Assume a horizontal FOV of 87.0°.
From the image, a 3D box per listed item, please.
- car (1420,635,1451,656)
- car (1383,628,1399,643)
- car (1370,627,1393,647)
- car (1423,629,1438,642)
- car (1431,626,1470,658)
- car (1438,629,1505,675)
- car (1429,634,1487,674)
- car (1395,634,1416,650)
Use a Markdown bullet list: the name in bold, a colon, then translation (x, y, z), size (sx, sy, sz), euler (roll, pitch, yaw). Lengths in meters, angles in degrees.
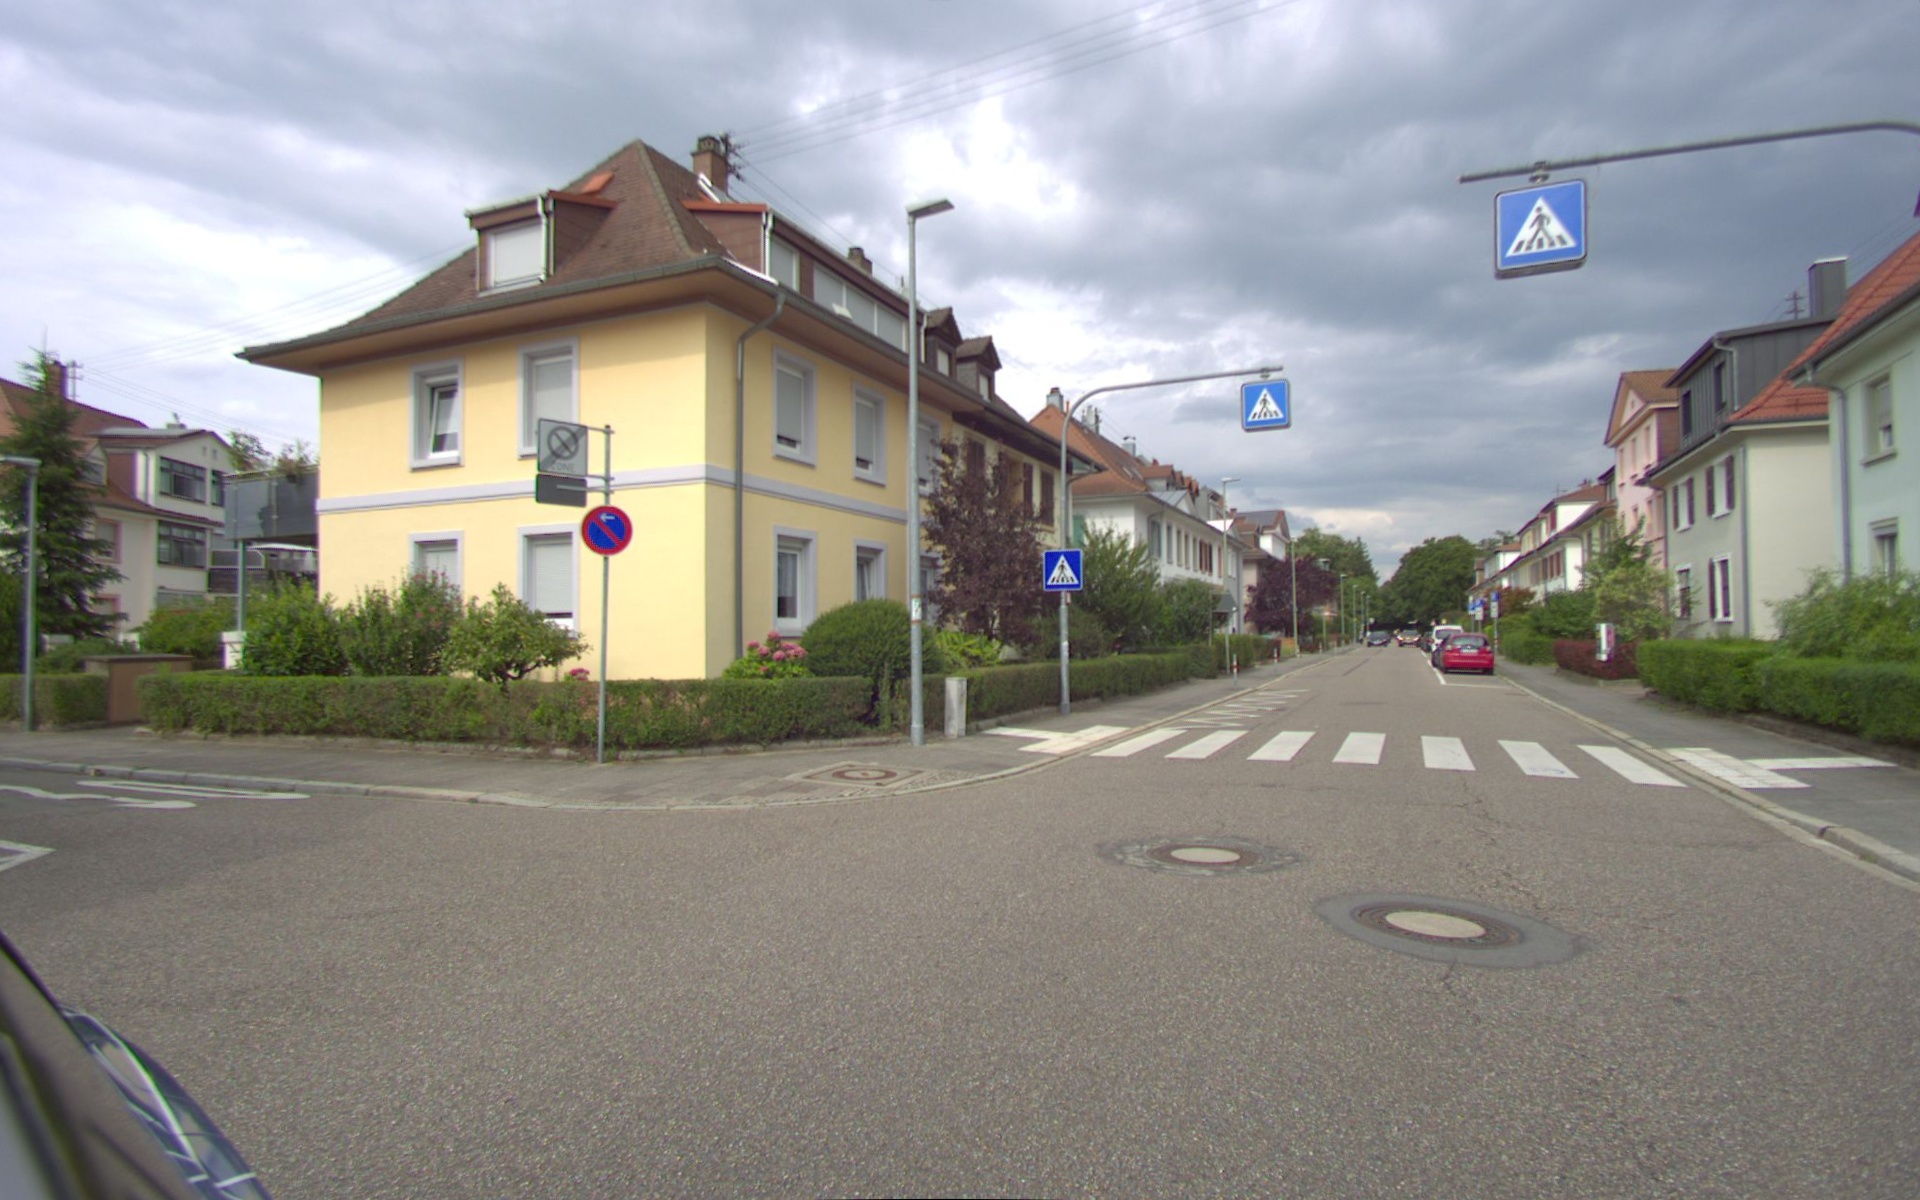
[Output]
- **car**: translation (35.869, 3.432, 76.479), size (1.988, 1.586, 3.967), euler (-2, -2, 24)
- **car**: translation (57.137, 4.704, 134.241), size (1.801, 1.894, 3.916), euler (-2, -2, 24)
- **car**: translation (42.221, 3.714, 101.417), size (1.988, 2.029, 3.967), euler (-1, -2, 24)
- **car**: translation (74.137, 5.603, 159.524), size (1.988, 2.029, 3.967), euler (0, -2, 24)
- **car**: translation (30.594, 2.591, 63.204), size (1.988, 1.918, 3.967), euler (-2, -2, 24)
- **car**: translation (19.021, 1.913, 37.770), size (1.988, 1.586, 3.967), euler (-2, -2, 24)
- **car**: translation (20.912, 2.237, 42.599), size (1.988, 1.586, 3.967), euler (-2, -2, 24)
- **car**: translation (43.602, 4.113, 99.021), size (1.825, 1.497, 3.969), euler (0, -2, 23)
